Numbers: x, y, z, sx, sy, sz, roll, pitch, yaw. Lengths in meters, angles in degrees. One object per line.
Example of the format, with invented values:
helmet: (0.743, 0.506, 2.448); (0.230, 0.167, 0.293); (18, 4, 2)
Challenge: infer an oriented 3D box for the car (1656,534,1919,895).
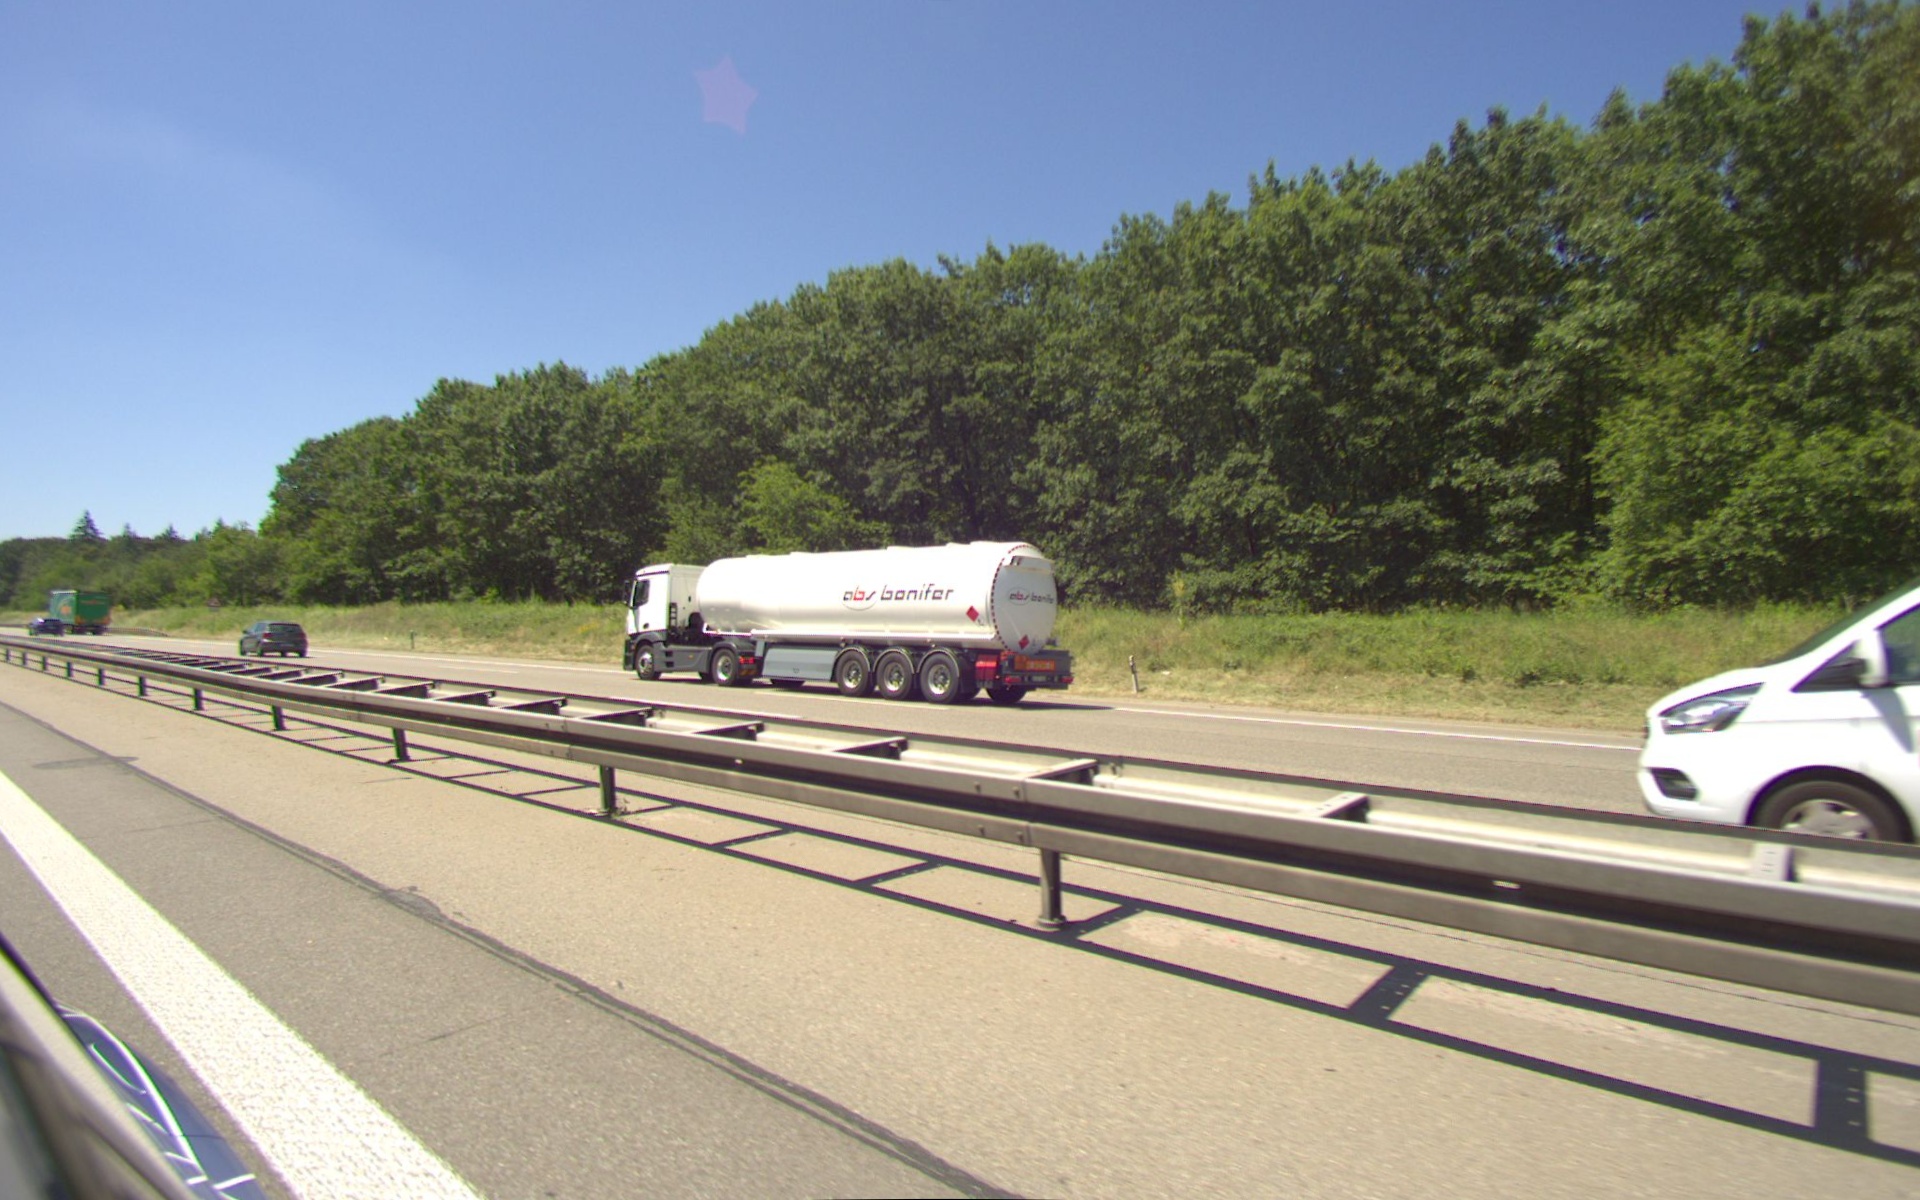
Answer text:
car: (7.150, 0.644, 5.186); (5.738, 1.962, 1.975); (-1, -3, 40)

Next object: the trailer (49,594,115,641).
trailer: (-85.094, 1.716, 97.942); (14.331, 4.193, 2.676); (-1, -4, 41)

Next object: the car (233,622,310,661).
car: (-28.146, 1.676, 41.331); (3.935, 1.484, 1.615); (-1, -3, 41)

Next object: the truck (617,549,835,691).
truck: (-6.487, 0.592, 27.639); (6.141, 3.460, 2.654); (-1, -3, 41)

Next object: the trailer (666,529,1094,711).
trailer: (-2.489, 0.518, 24.115); (11.794, 3.460, 2.654); (-1, -3, 41)

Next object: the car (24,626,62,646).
car: (-73.854, 2.884, 81.495); (5.133, 1.454, 1.656); (-1, -3, 41)
